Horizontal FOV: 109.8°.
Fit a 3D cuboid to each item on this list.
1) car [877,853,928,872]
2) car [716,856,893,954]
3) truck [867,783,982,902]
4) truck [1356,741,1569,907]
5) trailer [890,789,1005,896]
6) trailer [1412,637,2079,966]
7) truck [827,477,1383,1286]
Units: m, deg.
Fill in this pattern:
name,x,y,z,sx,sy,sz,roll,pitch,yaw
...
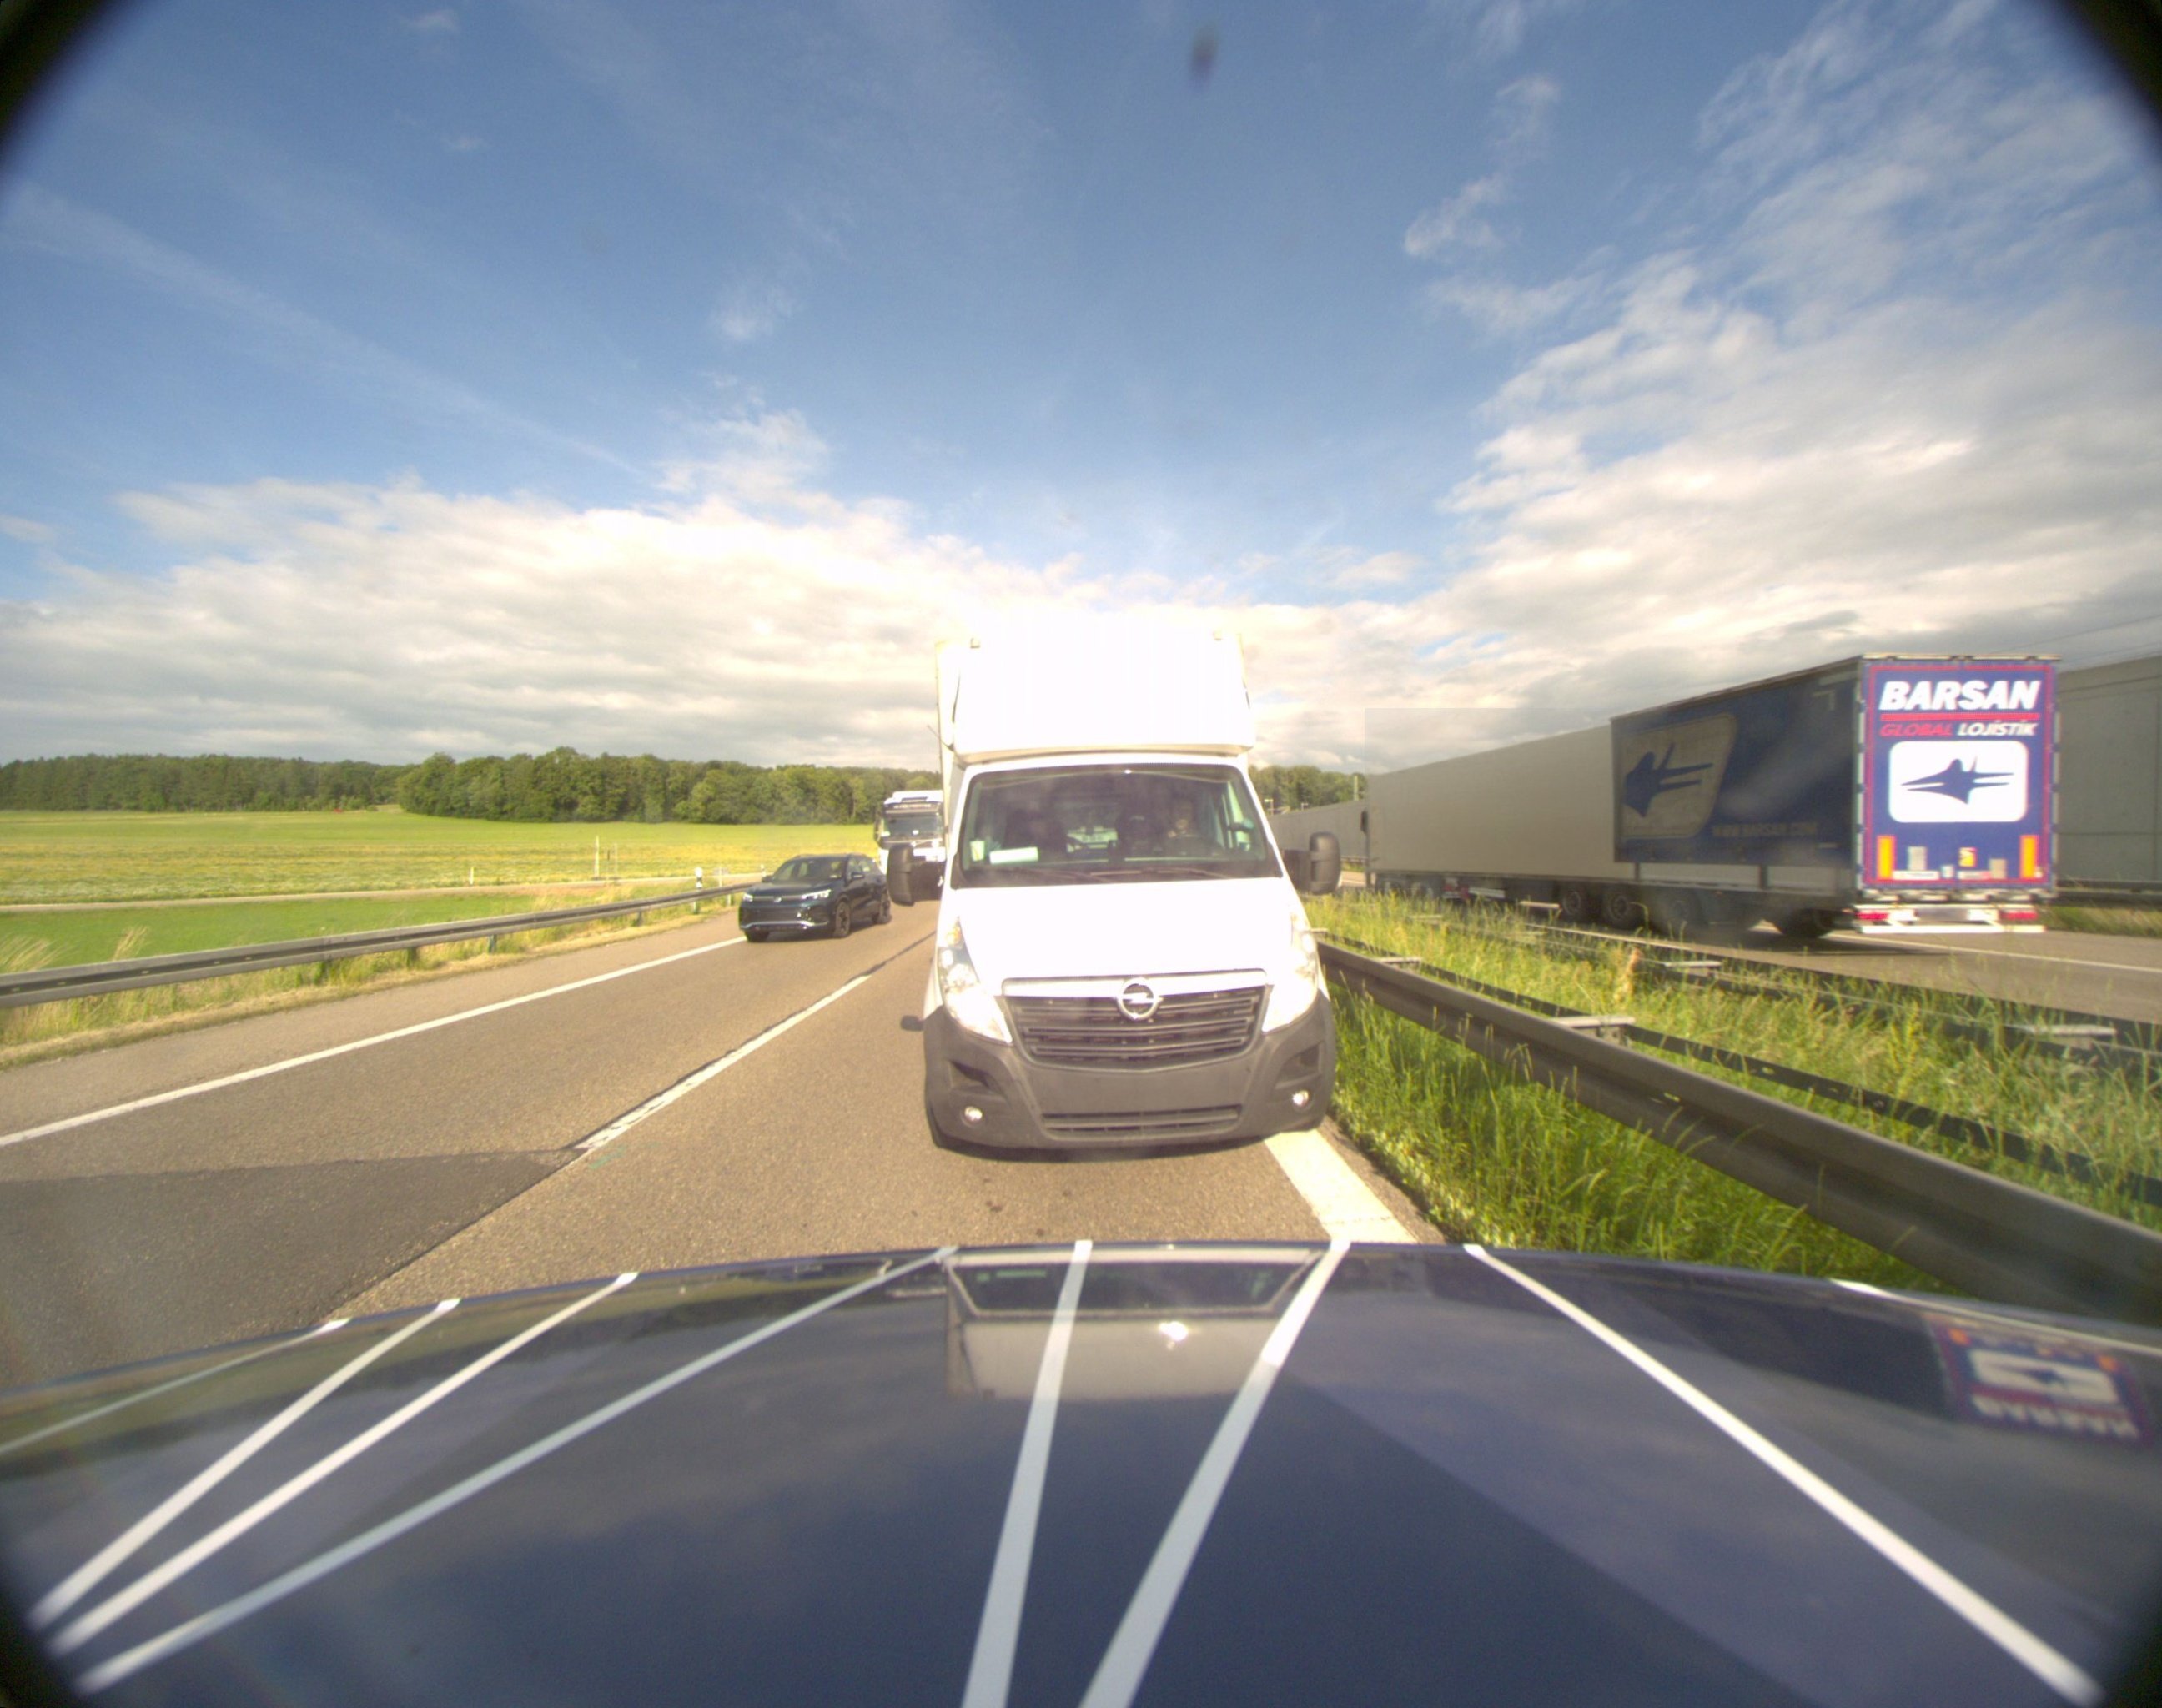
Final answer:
name,x,y,z,sx,sy,sz,roll,pitch,yaw
car,-16.387,0.780,69.950,4.007,1.609,1.994,-3,1,-43
car,-5.386,0.914,15.476,1.998,1.587,4.118,-2,1,1
truck,-5.756,-0.424,29.205,2.842,3.967,6.500,-2,1,1
truck,10.916,-0.803,22.703,2.645,4.074,7.000,-2,1,-1
trailer,-5.678,-0.511,34.956,2.826,3.959,12.126,-2,1,1
trailer,11.130,-0.740,15.784,2.661,4.057,12.393,-2,1,-2
truck,0.159,0.072,6.866,2.059,3.088,7.802,-2,1,1
